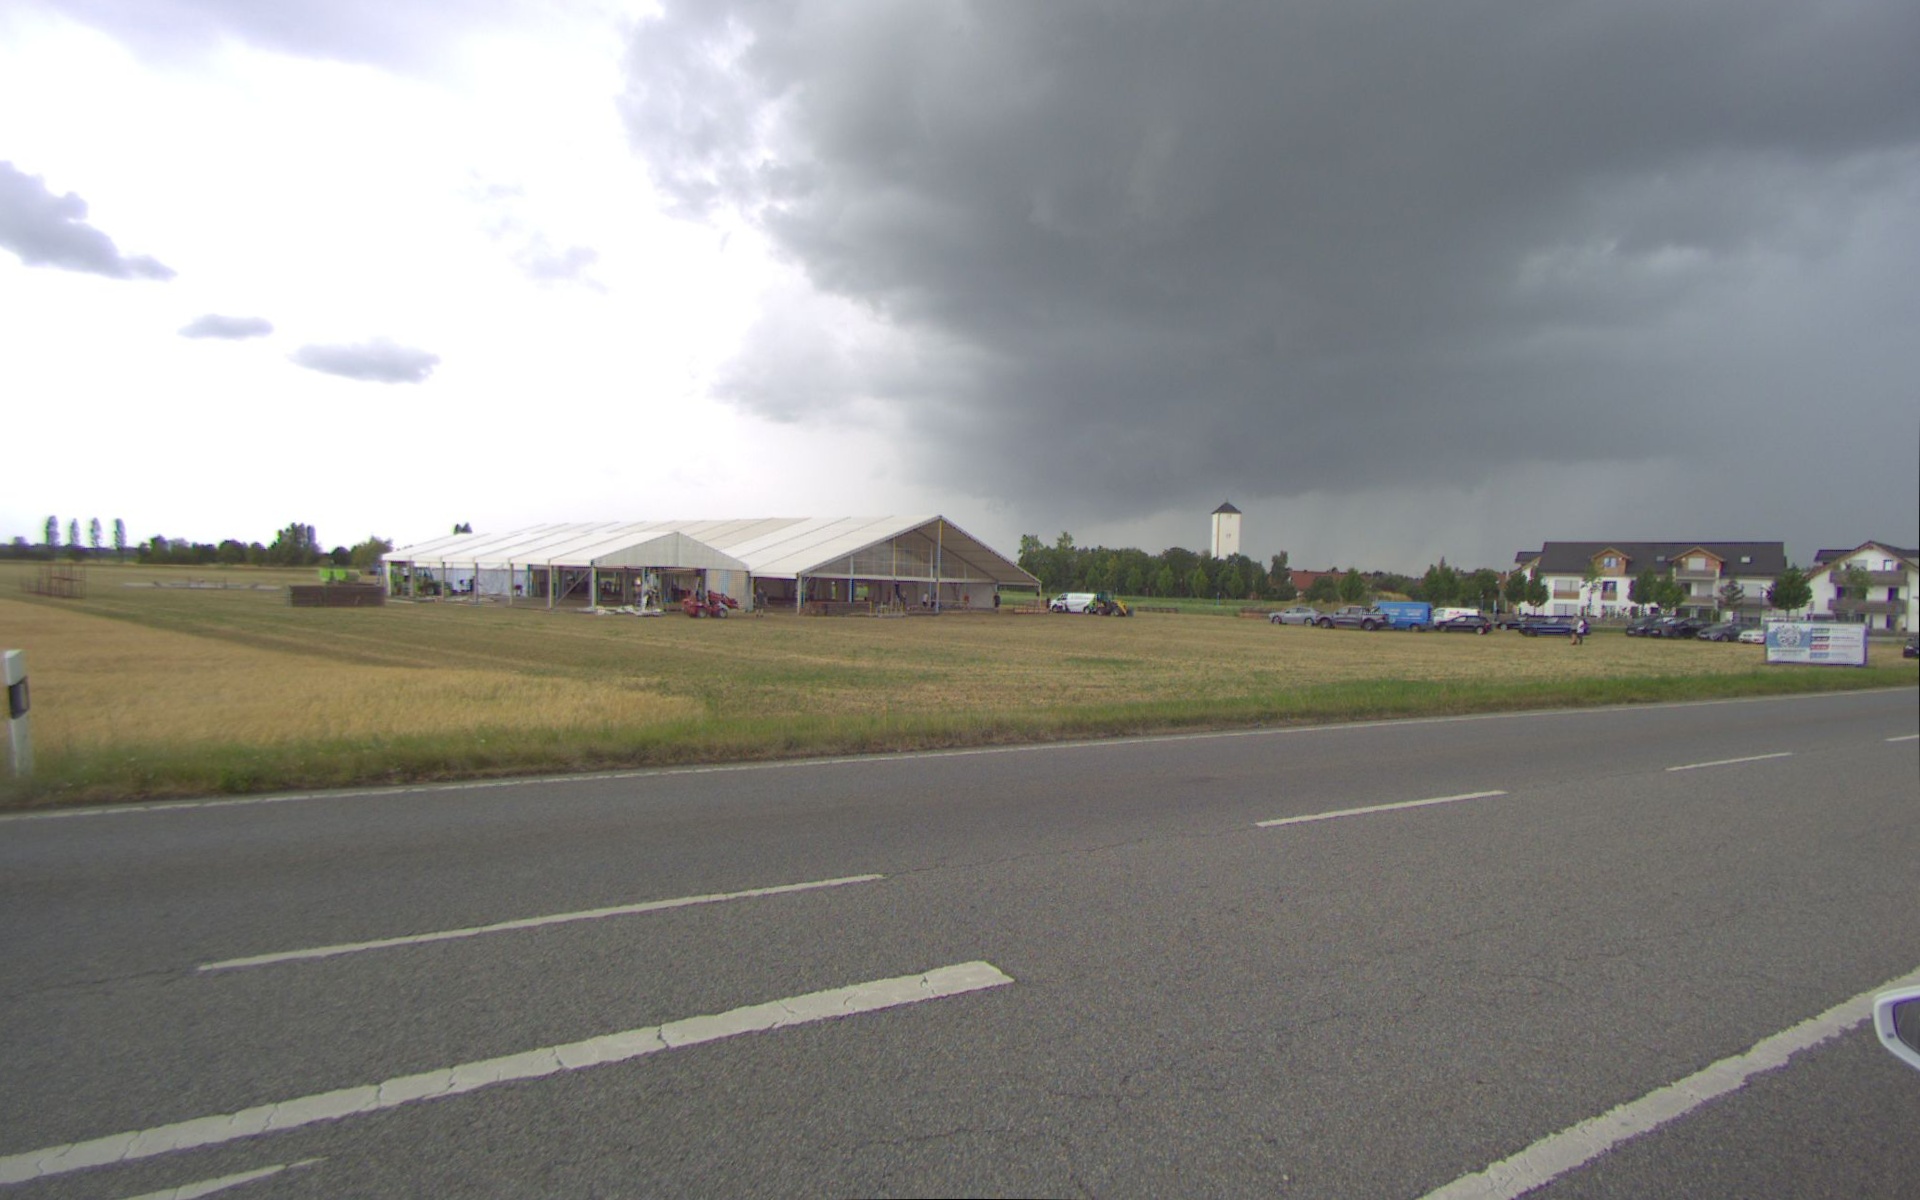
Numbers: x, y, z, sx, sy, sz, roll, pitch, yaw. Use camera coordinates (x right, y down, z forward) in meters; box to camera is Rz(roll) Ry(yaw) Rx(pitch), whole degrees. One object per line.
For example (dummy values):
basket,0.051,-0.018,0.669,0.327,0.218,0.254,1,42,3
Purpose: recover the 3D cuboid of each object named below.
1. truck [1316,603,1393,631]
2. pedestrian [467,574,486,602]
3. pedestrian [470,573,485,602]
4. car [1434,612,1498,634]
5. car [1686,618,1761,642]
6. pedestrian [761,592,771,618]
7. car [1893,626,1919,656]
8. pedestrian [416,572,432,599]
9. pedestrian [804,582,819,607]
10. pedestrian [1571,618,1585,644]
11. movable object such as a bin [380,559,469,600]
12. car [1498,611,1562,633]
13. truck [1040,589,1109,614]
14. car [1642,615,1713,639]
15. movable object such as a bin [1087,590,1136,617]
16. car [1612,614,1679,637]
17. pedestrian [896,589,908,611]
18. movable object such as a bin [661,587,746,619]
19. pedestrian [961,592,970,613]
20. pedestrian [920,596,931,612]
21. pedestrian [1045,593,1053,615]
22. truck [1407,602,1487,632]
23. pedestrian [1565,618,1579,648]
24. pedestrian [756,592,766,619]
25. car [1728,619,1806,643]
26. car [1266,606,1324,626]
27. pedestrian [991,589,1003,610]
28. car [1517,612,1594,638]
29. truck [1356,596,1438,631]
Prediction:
truck,30.156,1.268,76.785,5.155,1.946,2.106,2,0,34
pedestrian,-36.171,-0.878,75.093,1.006,2.040,0.806,2,1,-4
pedestrian,-36.690,-0.941,76.416,0.930,2.130,0.860,1,1,-31
car,39.436,1.747,78.272,4.105,1.539,1.991,2,0,40
car,54.238,2.105,71.392,4.138,1.556,1.995,1,0,-12
pedestrian,-12.565,0.331,64.998,0.575,1.649,0.468,1,0,-19
car,50.051,2.135,52.147,3.969,1.461,1.976,0,1,-42
pedestrian,-42.078,-1.136,78.858,1.009,2.040,0.803,2,1,39
pedestrian,-12.223,-0.450,82.635,0.869,2.040,0.760,1,1,-35
pedestrian,38.153,1.884,62.005,0.582,1.576,0.623,2,1,41
movable object such as a bin,-45.942,-1.774,86.155,7.466,3.220,4.140,3,1,39
car,49.734,1.872,87.731,4.570,1.720,1.991,2,0,40
truck,10.985,0.147,96.268,5.960,2.246,2.713,2,0,33
car,53.073,1.982,74.361,4.138,1.651,1.995,1,0,-12
movable object such as a bin,13.619,0.309,90.278,3.928,2.273,1.881,2,0,32
car,53.383,1.952,78.236,4.138,1.651,1.995,1,0,-12
pedestrian,-4.898,-0.021,84.613,0.689,1.799,0.682,1,1,-41
movable object such as a bin,-15.783,0.202,62.040,2.555,1.889,4.457,2,0,36
pedestrian,0.482,0.175,87.140,0.681,1.799,0.691,2,1,3
pedestrian,-2.867,0.323,83.485,0.689,1.288,0.682,1,1,-41
pedestrian,7.940,0.348,89.659,0.694,1.890,0.626,2,1,8
truck,40.112,1.404,82.767,5.494,2.226,2.597,2,0,37
pedestrian,37.465,2.025,61.496,0.673,1.809,0.543,1,1,-42
pedestrian,-12.575,0.348,63.449,0.543,1.649,0.544,1,0,-21
car,55.248,2.121,68.787,4.138,1.465,1.995,1,0,-12
car,27.827,1.347,83.408,4.236,1.481,1.886,2,0,34
pedestrian,3.208,-0.035,86.585,0.686,1.799,0.686,1,1,-44
car,44.144,1.848,74.466,4.659,1.720,1.991,2,0,40
truck,34.046,1.042,78.330,5.378,2.478,2.385,2,0,37
